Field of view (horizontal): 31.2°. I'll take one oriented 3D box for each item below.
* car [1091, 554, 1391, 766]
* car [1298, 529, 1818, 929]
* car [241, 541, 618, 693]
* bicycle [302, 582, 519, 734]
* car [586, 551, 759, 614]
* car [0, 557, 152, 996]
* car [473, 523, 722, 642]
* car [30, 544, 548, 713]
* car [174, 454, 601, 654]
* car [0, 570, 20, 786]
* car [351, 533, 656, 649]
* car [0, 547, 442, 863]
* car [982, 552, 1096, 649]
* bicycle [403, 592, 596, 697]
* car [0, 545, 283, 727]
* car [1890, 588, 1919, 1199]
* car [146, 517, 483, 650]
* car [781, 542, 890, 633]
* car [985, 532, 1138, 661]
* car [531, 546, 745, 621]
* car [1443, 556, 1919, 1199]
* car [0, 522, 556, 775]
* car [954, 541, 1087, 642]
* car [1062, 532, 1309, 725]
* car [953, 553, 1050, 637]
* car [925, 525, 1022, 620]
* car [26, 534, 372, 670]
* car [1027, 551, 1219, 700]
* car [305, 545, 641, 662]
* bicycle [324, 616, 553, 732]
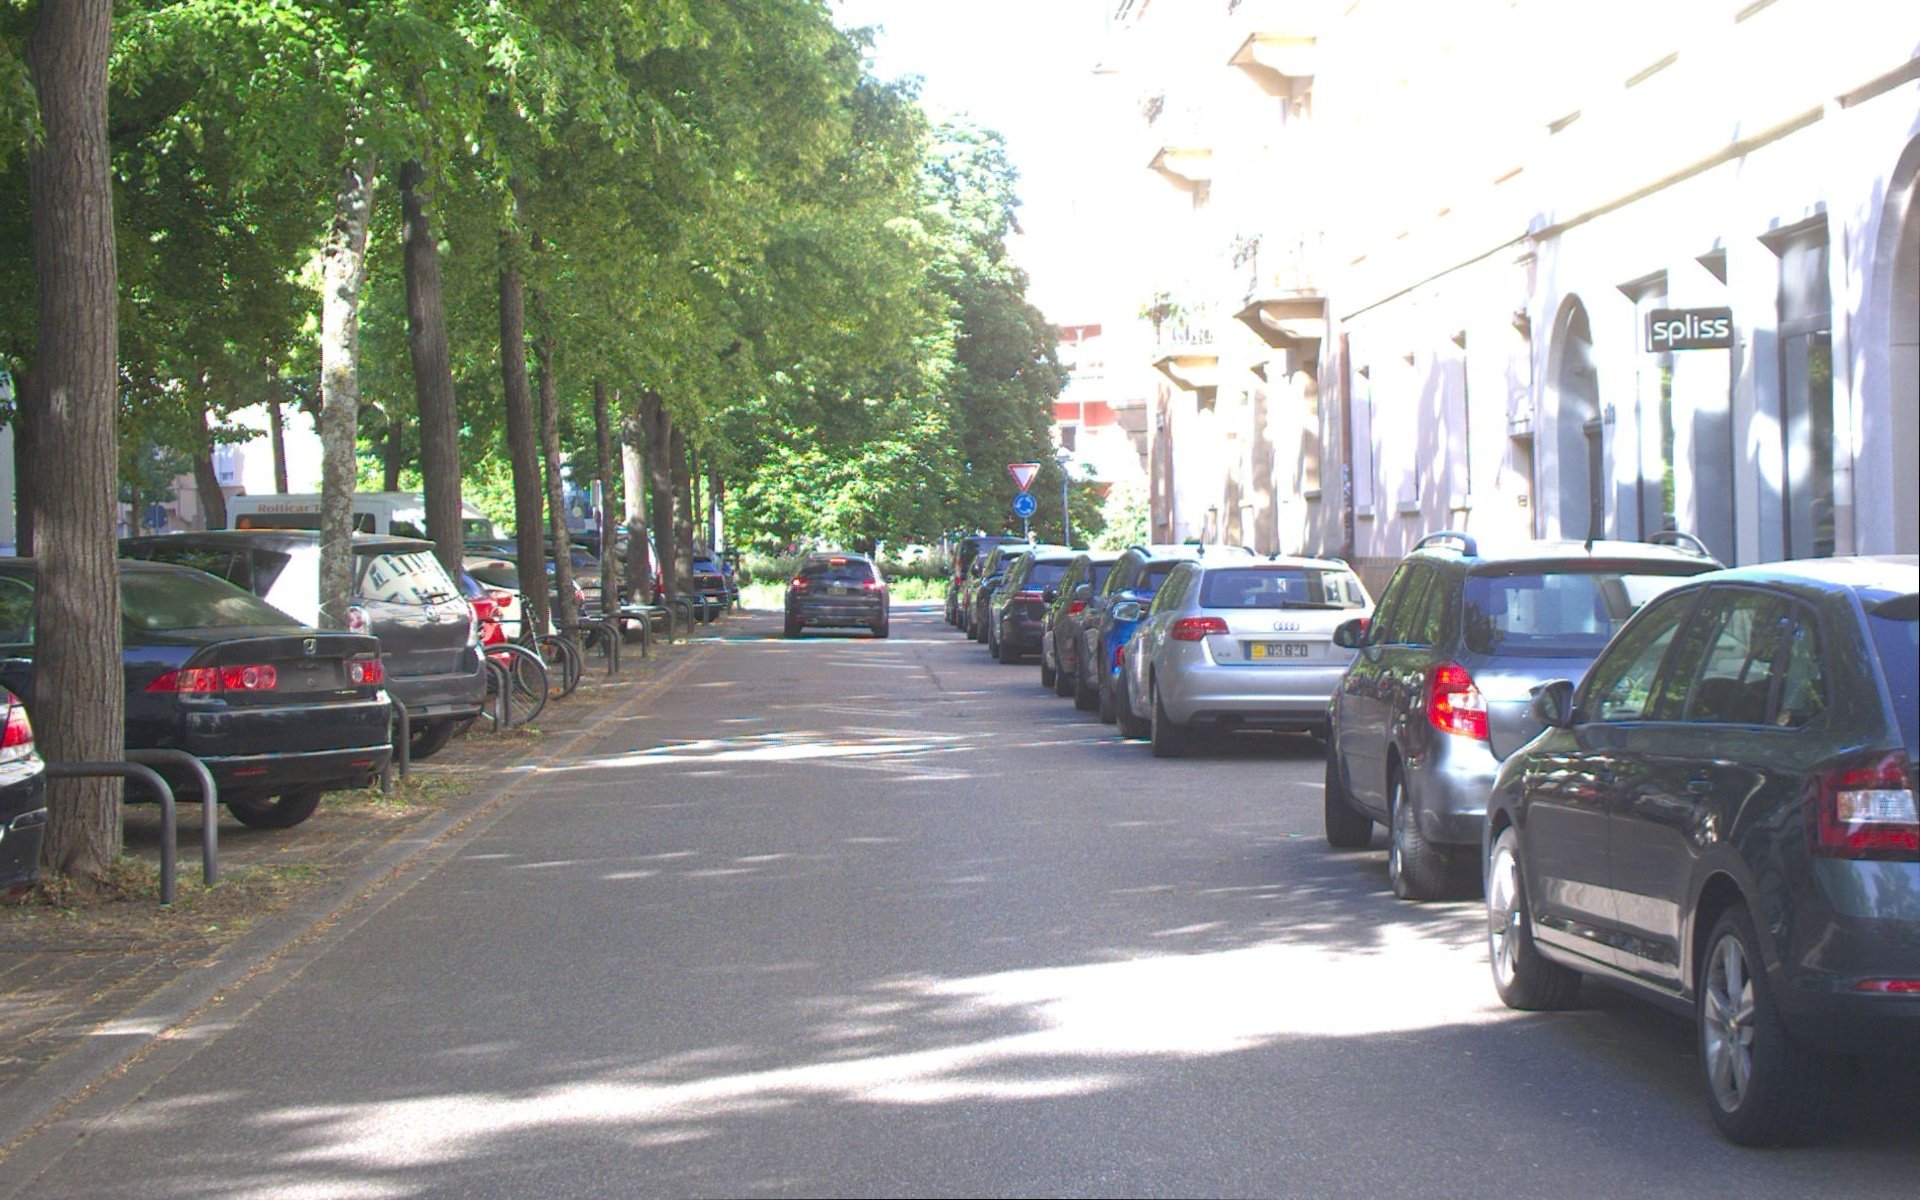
[{"bbox_3d":[2.015,0.383,25.778,1.769,1.426,4.291,-1,1,-2],"label":"car"},{"bbox_3d":[2.533,0.472,15.448,1.580,1.545,4.042,-1,1,-1],"label":"car"},{"bbox_3d":[-5.765,0.156,37.400,3.687,1.590,1.770,0,1,24],"label":"car"},{"bbox_3d":[-4.291,0.442,26.836,1.687,1.155,0.379,0,1,18],"label":"bicycle"},{"bbox_3d":[-7.037,-0.409,83.956,4.137,1.476,1.772,-1,0,39],"label":"car"},{"bbox_3d":[-4.988,0.596,12.044,4.151,1.420,1.712,-1,0,30],"label":"car"},{"bbox_3d":[-6.188,-0.286,58.567,3.845,1.882,1.841,-1,2,32],"label":"car"},{"bbox_3d":[-6.244,0.224,31.896,4.620,1.481,1.758,0,1,27],"label":"car"},{"bbox_3d":[-9.098,-0.699,54.769,6.069,2.614,2.454,-5,-1,14],"label":"car"},{"bbox_3d":[-8.320,0.516,22.484,4.192,1.386,1.815,0,1,32],"label":"car"},{"bbox_3d":[-6.760,-0.157,50.840,4.268,1.636,1.653,1,1,27],"label":"car"},{"bbox_3d":[-4.808,0.530,18.130,4.014,1.469,1.623,-1,1,34],"label":"car"},{"bbox_3d":[1.163,-0.018,52.043,1.590,1.410,3.632,0,1,-1],"label":"car"},{"bbox_3d":[-4.491,0.433,33.498,1.812,0.990,0.425,-1,1,14],"label":"bicycle"},{"bbox_3d":[-8.064,0.291,29.566,4.108,1.468,1.869,0,1,27],"label":"car"},{"bbox_3d":[2.705,0.696,4.314,1.606,1.415,4.569,-2,1,-3],"label":"car"},{"bbox_3d":[-9.131,-0.225,48.574,4.385,1.771,1.897,-1,0,26],"label":"car"},{"bbox_3d":[-2.141,-0.248,60.058,1.714,1.478,4.145,-2,1,0],"label":"car"},{"bbox_3d":[1.297,-0.077,45.459,1.805,1.558,4.321,-2,1,0],"label":"car"},{"bbox_3d":[-6.448,-0.314,68.645,4.087,1.461,1.867,0,0,-11],"label":"car"},{"bbox_3d":[2.534,0.650,9.574,1.599,1.487,3.967,-2,1,-3],"label":"car"},{"bbox_3d":[-5.077,0.291,24.160,4.081,1.647,1.860,0,1,26],"label":"car"},{"bbox_3d":[0.988,-0.171,58.550,1.864,1.638,4.492,0,1,-4],"label":"car"},{"bbox_3d":[1.933,0.202,30.586,1.767,1.546,4.184,-2,1,-2],"label":"car"},{"bbox_3d":[0.778,-0.125,66.756,1.645,1.532,4.000,2,1,-2],"label":"car"},{"bbox_3d":[0.252,-0.594,71.848,1.801,1.864,4.273,2,1,-2],"label":"car"},{"bbox_3d":[-9.457,0.029,42.692,3.909,1.550,1.843,-1,1,29],"label":"car"},{"bbox_3d":[1.644,0.221,35.758,1.692,1.463,4.005,0,1,-2],"label":"car"},{"bbox_3d":[-6.378,0.052,44.975,4.102,1.476,1.729,-1,0,28],"label":"car"},{"bbox_3d":[-4.304,0.603,28.354,1.899,0.916,0.379,0,1,18],"label":"bicycle"}]
